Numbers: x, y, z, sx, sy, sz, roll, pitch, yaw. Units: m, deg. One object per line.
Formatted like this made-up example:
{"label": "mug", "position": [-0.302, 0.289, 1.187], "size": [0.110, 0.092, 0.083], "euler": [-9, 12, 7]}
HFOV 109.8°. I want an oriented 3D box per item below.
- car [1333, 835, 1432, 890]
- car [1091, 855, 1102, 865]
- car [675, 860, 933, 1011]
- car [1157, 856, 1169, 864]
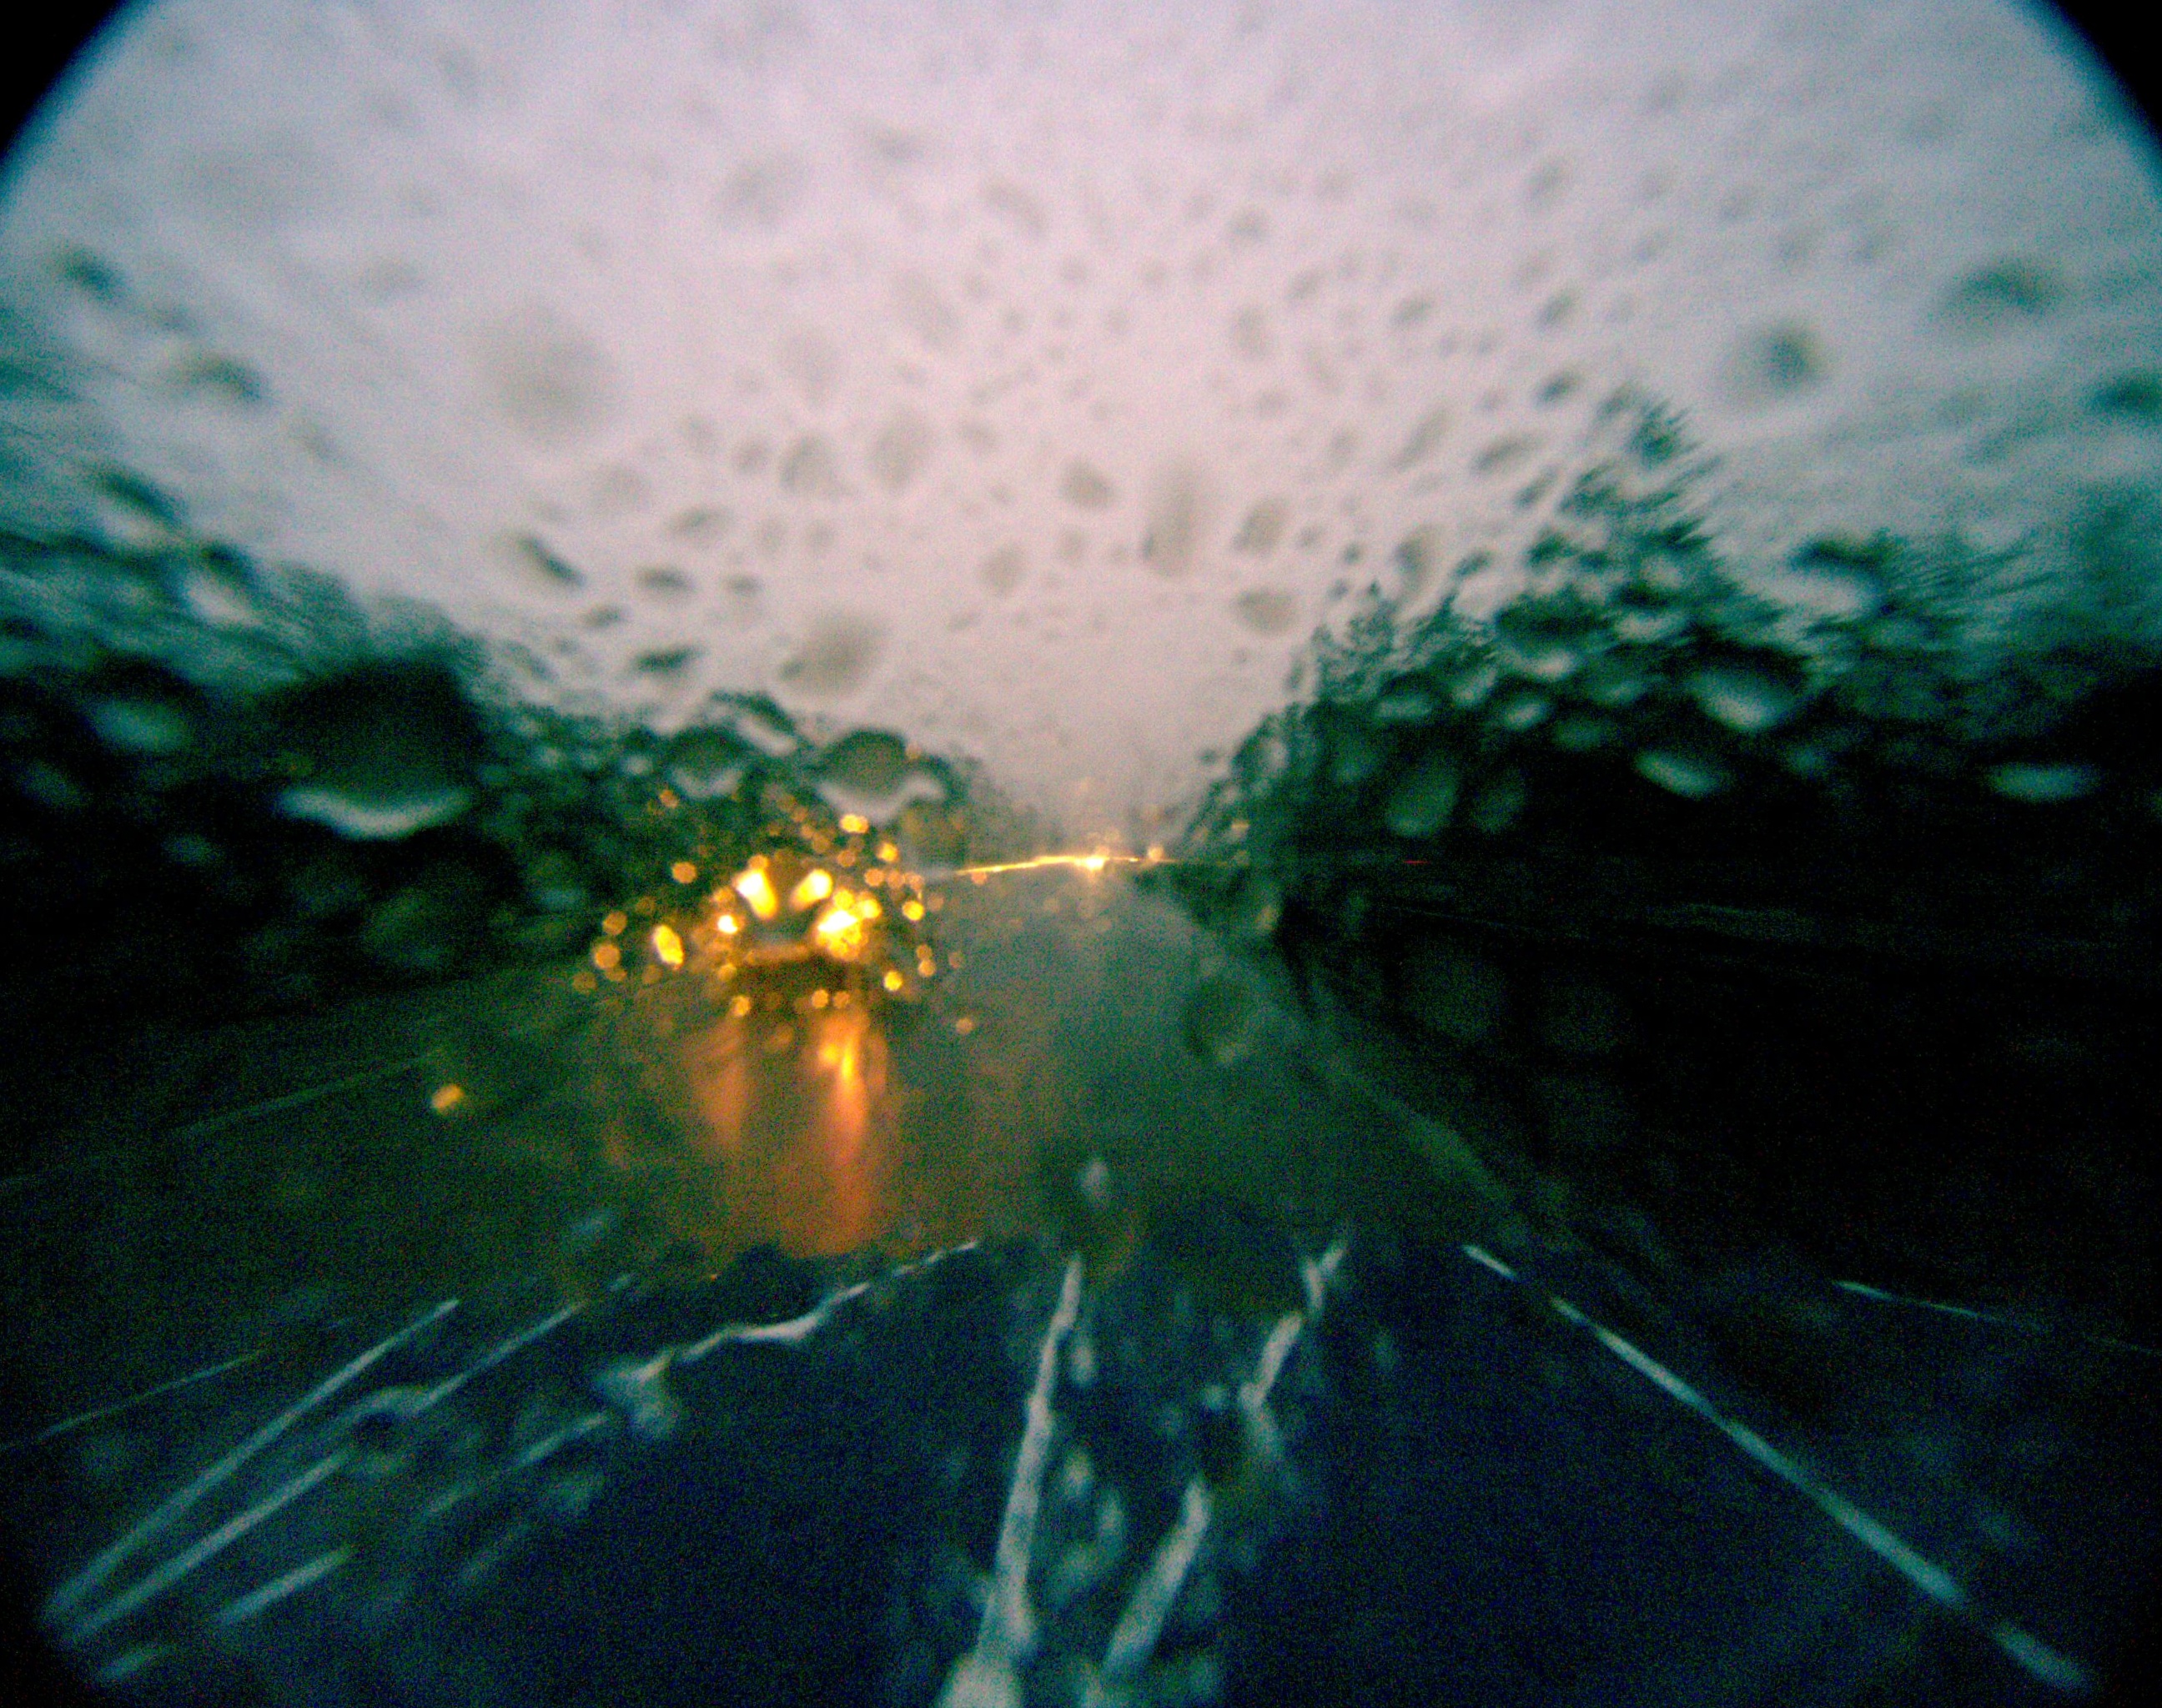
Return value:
{"label": "car", "position": [12.005, 0.299, 30.652], "size": [1.999, 2.002, 4.784], "euler": [-1, 0, -1]}
{"label": "car", "position": [2.903, 1.116, 147.566], "size": [1.998, 1.827, 4.000], "euler": [-3, 0, 1]}
{"label": "car", "position": [-3.660, 0.969, 11.094], "size": [2.075, 1.688, 4.461], "euler": [-1, 0, 0]}
{"label": "car", "position": [14.685, 1.032, 135.816], "size": [1.680, 1.381, 3.981], "euler": [-1, 0, 0]}
